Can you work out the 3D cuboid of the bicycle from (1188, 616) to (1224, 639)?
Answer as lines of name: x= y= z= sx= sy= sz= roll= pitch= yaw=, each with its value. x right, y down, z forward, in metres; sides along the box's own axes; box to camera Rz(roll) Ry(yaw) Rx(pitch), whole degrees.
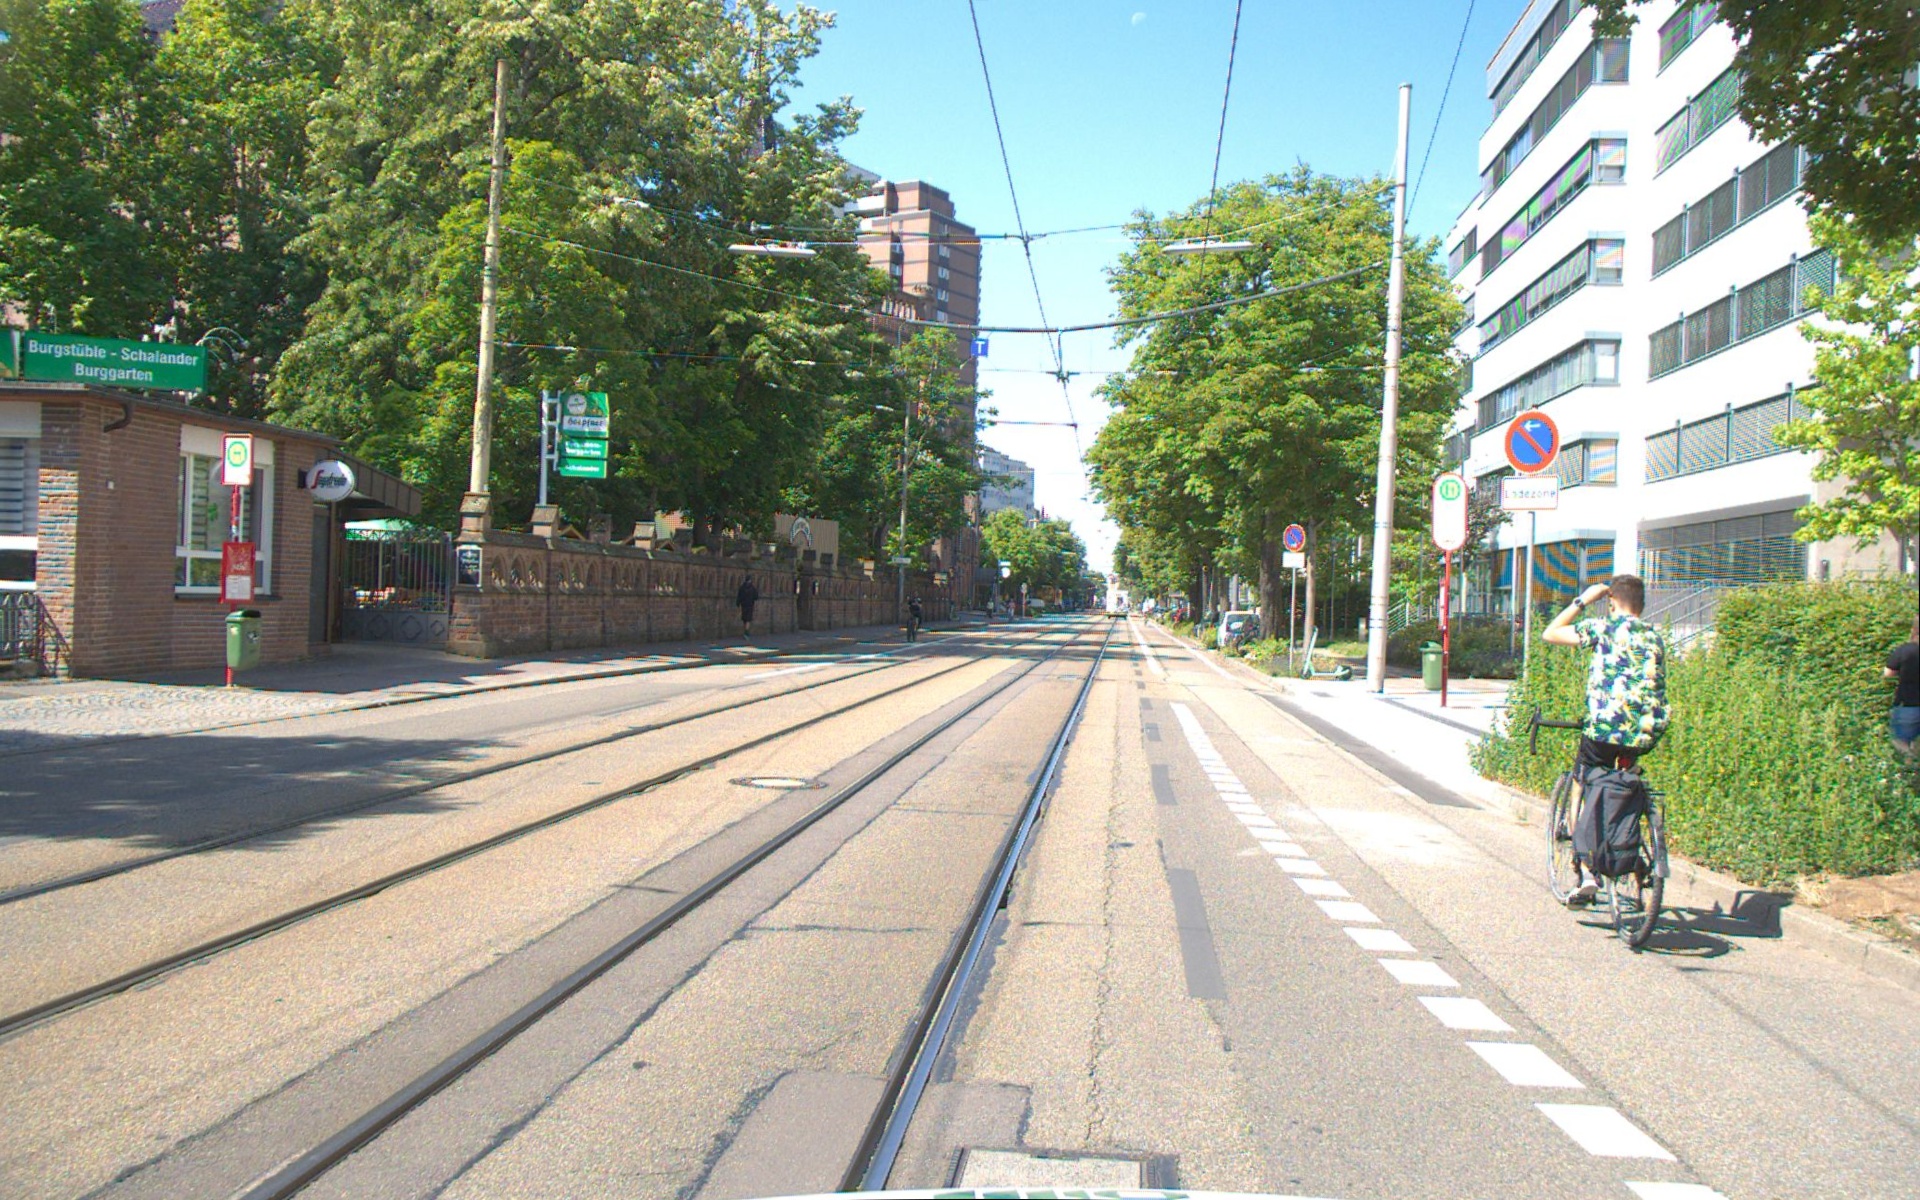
bicycle: x=12.036 y=1.349 z=81.077 sx=1.688 sy=1.105 sz=0.615 roll=2 pitch=0 yaw=5

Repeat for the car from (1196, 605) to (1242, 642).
car: x=11.327 y=1.020 z=72.480 sx=1.596 sy=1.509 sz=4.275 roll=2 pitch=0 yaw=4

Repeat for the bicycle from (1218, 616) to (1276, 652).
bicycle: x=9.827 y=1.160 z=56.619 sx=1.864 sy=1.190 sz=0.819 roll=2 pitch=0 yaw=5

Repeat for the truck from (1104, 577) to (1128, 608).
truck: x=16.542 y=-0.741 z=175.708 sx=2.352 sy=3.163 sz=6.041 roll=2 pitch=0 yaw=5

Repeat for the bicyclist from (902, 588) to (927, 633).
bicyclist: x=-1.620 y=0.383 z=59.210 sx=0.724 sy=1.557 sz=0.948 roll=2 pitch=0 yaw=6

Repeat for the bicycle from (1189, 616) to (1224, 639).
bicycle: x=12.157 y=1.359 z=81.634 sx=1.688 sy=1.105 sz=0.479 roll=2 pitch=0 yaw=5

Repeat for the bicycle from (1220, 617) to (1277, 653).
bicycle: x=9.760 y=1.179 z=55.975 sx=1.833 sy=1.161 sz=0.686 roll=2 pitch=0 yaw=5

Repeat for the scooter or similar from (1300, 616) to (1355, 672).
scooter or similar: x=8.130 y=0.974 z=36.602 sx=1.102 sy=1.187 sz=0.676 roll=2 pitch=0 yaw=8

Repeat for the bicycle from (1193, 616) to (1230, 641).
bicycle: x=12.060 y=1.367 z=79.361 sx=1.688 sy=1.105 sz=0.571 roll=2 pitch=0 yaw=5

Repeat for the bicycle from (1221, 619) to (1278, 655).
bicycle: x=9.684 y=1.227 z=55.300 sx=1.810 sy=1.151 sz=0.681 roll=2 pitch=0 yaw=5

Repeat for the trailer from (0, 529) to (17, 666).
trailer: x=-13.023 y=-0.097 z=19.149 sx=3.205 sy=1.631 sz=1.725 roll=2 pitch=0 yaw=7

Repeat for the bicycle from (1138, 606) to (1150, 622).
bicycle: x=13.828 y=1.067 z=124.539 sx=0.837 sy=1.129 sz=2.141 roll=2 pitch=0 yaw=5

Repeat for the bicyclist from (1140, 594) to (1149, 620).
bicyclist: x=13.891 y=0.520 z=124.730 sx=0.622 sy=1.904 sz=1.025 roll=1 pitch=0 yaw=5

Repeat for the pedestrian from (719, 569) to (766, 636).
pedestrian: x=-6.337 y=0.070 z=48.209 sx=0.956 sy=1.847 sz=1.185 roll=5 pitch=0 yaw=6

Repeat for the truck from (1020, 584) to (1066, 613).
truck: x=12.171 y=-0.177 z=241.685 sx=2.759 sy=3.927 sz=9.987 roll=2 pitch=0 yaw=27

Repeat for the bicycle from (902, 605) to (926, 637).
bicycle: x=-1.635 y=0.741 z=59.128 sx=0.579 sy=1.125 sz=2.055 roll=2 pitch=0 yaw=6

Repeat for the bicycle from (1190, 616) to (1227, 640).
bicycle: x=11.843 y=1.336 z=78.802 sx=1.688 sy=1.105 sz=0.697 roll=2 pitch=0 yaw=5

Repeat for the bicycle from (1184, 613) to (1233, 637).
bicycle: x=15.346 y=1.558 z=102.130 sx=2.963 sy=1.355 sz=1.042 roll=2 pitch=0 yaw=9

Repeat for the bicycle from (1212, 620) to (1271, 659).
bicycle: x=8.547 y=1.204 z=50.348 sx=1.688 sy=1.105 sz=0.790 roll=2 pitch=0 yaw=5

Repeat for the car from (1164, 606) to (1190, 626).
car: x=15.863 y=1.172 z=121.201 sx=1.596 sy=1.378 sz=3.903 roll=2 pitch=0 yaw=4

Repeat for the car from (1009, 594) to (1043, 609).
car: x=8.522 y=0.232 z=213.144 sx=3.936 sy=1.780 sz=1.985 roll=2 pitch=0 yaw=-25

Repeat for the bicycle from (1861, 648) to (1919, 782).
bicycle: x=8.704 y=1.028 z=14.479 sx=0.622 sy=1.137 sz=2.068 roll=2 pitch=0 yaw=5

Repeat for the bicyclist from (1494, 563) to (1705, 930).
bicyclist: x=3.267 y=0.707 z=8.532 sx=0.701 sy=1.754 sz=0.988 roll=2 pitch=0 yaw=4

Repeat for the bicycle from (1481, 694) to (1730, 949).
bicycle: x=3.275 y=1.069 z=8.600 sx=0.596 sy=1.001 sz=2.165 roll=2 pitch=0 yaw=5

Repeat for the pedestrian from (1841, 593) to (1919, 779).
pedestrian: x=8.412 y=0.739 z=14.678 sx=0.672 sy=1.590 sz=0.988 roll=0 pitch=0 yaw=1

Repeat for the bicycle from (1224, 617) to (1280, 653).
bicycle: x=9.664 y=1.154 z=54.771 sx=1.755 sy=1.105 sz=0.727 roll=2 pitch=0 yaw=5

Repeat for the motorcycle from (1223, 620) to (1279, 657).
motorcycle: x=9.238 y=1.206 z=52.511 sx=1.688 sy=1.105 sz=0.659 roll=2 pitch=0 yaw=5

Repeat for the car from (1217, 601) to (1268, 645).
car: x=10.291 y=0.811 z=60.471 sx=1.595 sy=1.497 sz=3.633 roll=2 pitch=0 yaw=7

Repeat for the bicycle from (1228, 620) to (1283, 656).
bicycle: x=9.612 y=1.226 z=53.885 sx=1.688 sy=1.105 sz=0.640 roll=2 pitch=0 yaw=5

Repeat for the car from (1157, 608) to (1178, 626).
car: x=17.895 y=1.446 z=142.803 sx=1.595 sy=1.498 sz=4.116 roll=2 pitch=0 yaw=6

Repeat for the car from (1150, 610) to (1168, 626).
car: x=19.288 y=1.741 z=160.653 sx=1.595 sy=1.498 sz=4.116 roll=2 pitch=0 yaw=6

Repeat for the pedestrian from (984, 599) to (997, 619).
pedestrian: x=2.462 y=0.724 z=132.814 sx=0.865 sy=1.538 sz=1.475 roll=2 pitch=0 yaw=-3

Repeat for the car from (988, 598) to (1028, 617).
car: x=5.221 y=0.812 z=180.153 sx=3.947 sy=1.842 sz=1.870 roll=2 pitch=0 yaw=-32

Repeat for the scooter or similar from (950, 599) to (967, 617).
scooter or similar: x=-0.071 y=0.511 z=105.432 sx=0.328 sy=1.149 sz=1.178 roll=1 pitch=-1 yaw=44
